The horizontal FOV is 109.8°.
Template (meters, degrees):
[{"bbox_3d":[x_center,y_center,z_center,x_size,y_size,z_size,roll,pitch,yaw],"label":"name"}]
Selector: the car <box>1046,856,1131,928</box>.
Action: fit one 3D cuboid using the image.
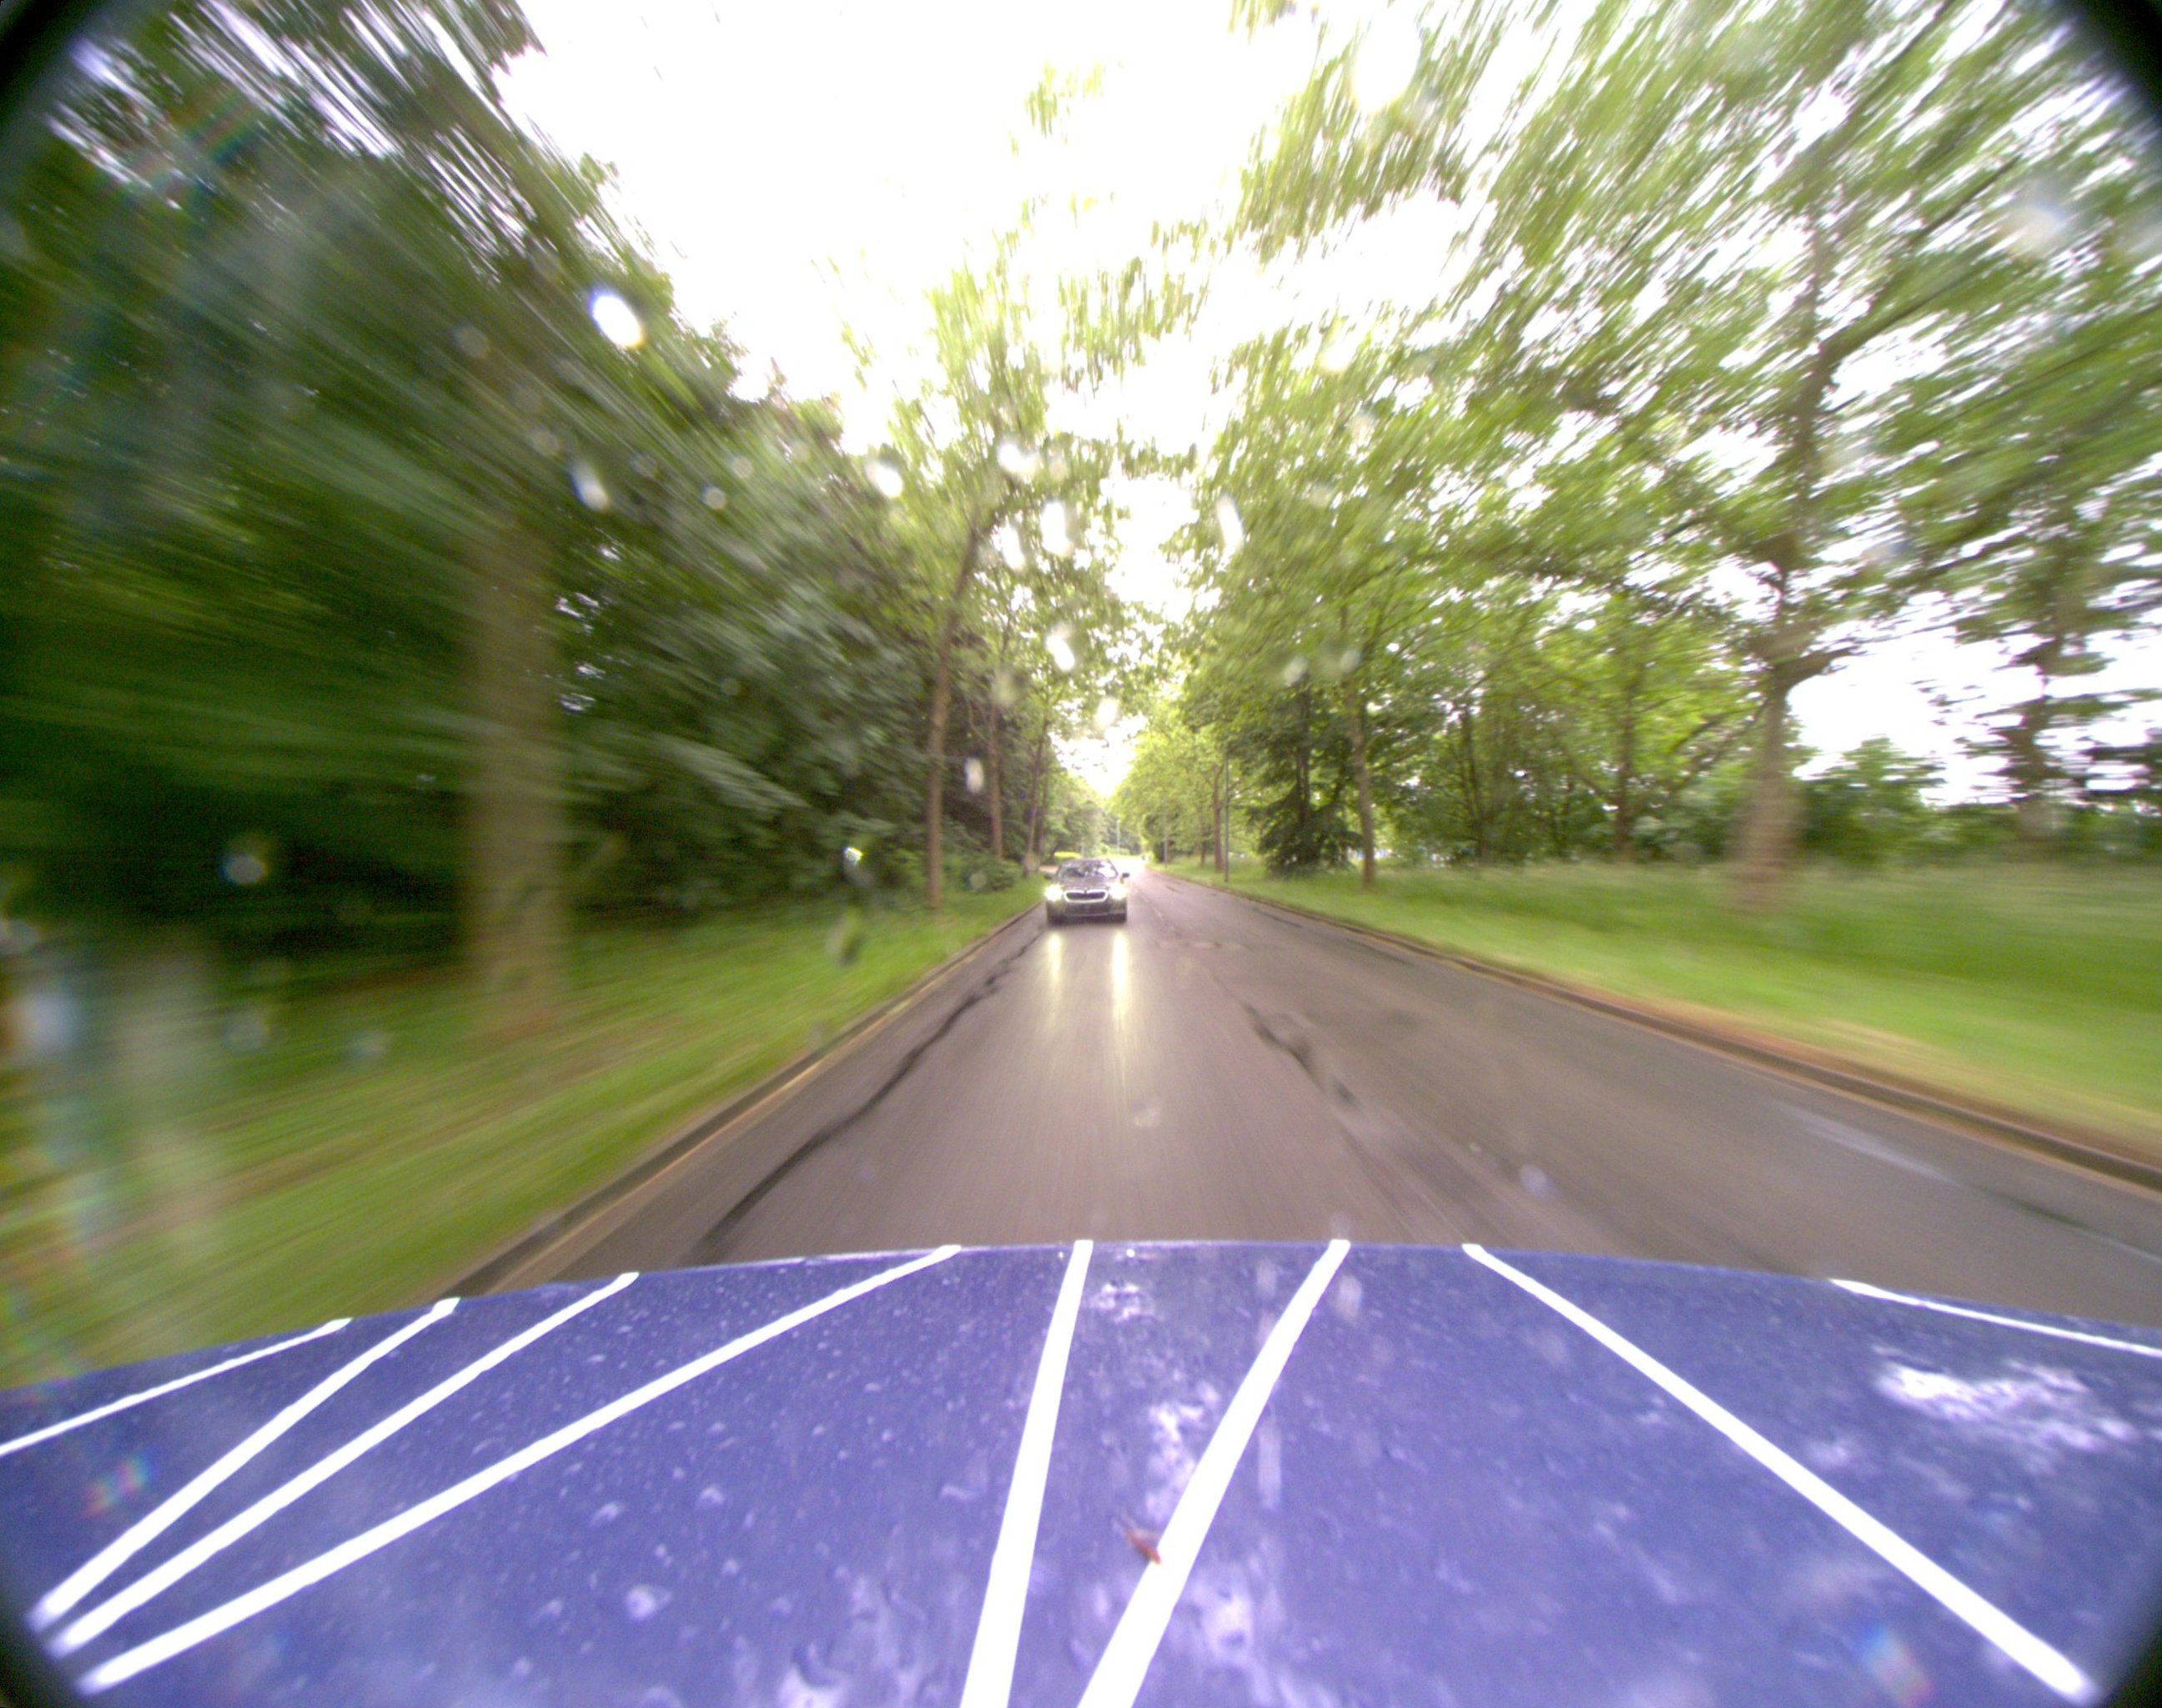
[{"bbox_3d":[0.269,0.863,19.233,1.832,1.499,4.499,-2,0,3],"label":"car"}]
